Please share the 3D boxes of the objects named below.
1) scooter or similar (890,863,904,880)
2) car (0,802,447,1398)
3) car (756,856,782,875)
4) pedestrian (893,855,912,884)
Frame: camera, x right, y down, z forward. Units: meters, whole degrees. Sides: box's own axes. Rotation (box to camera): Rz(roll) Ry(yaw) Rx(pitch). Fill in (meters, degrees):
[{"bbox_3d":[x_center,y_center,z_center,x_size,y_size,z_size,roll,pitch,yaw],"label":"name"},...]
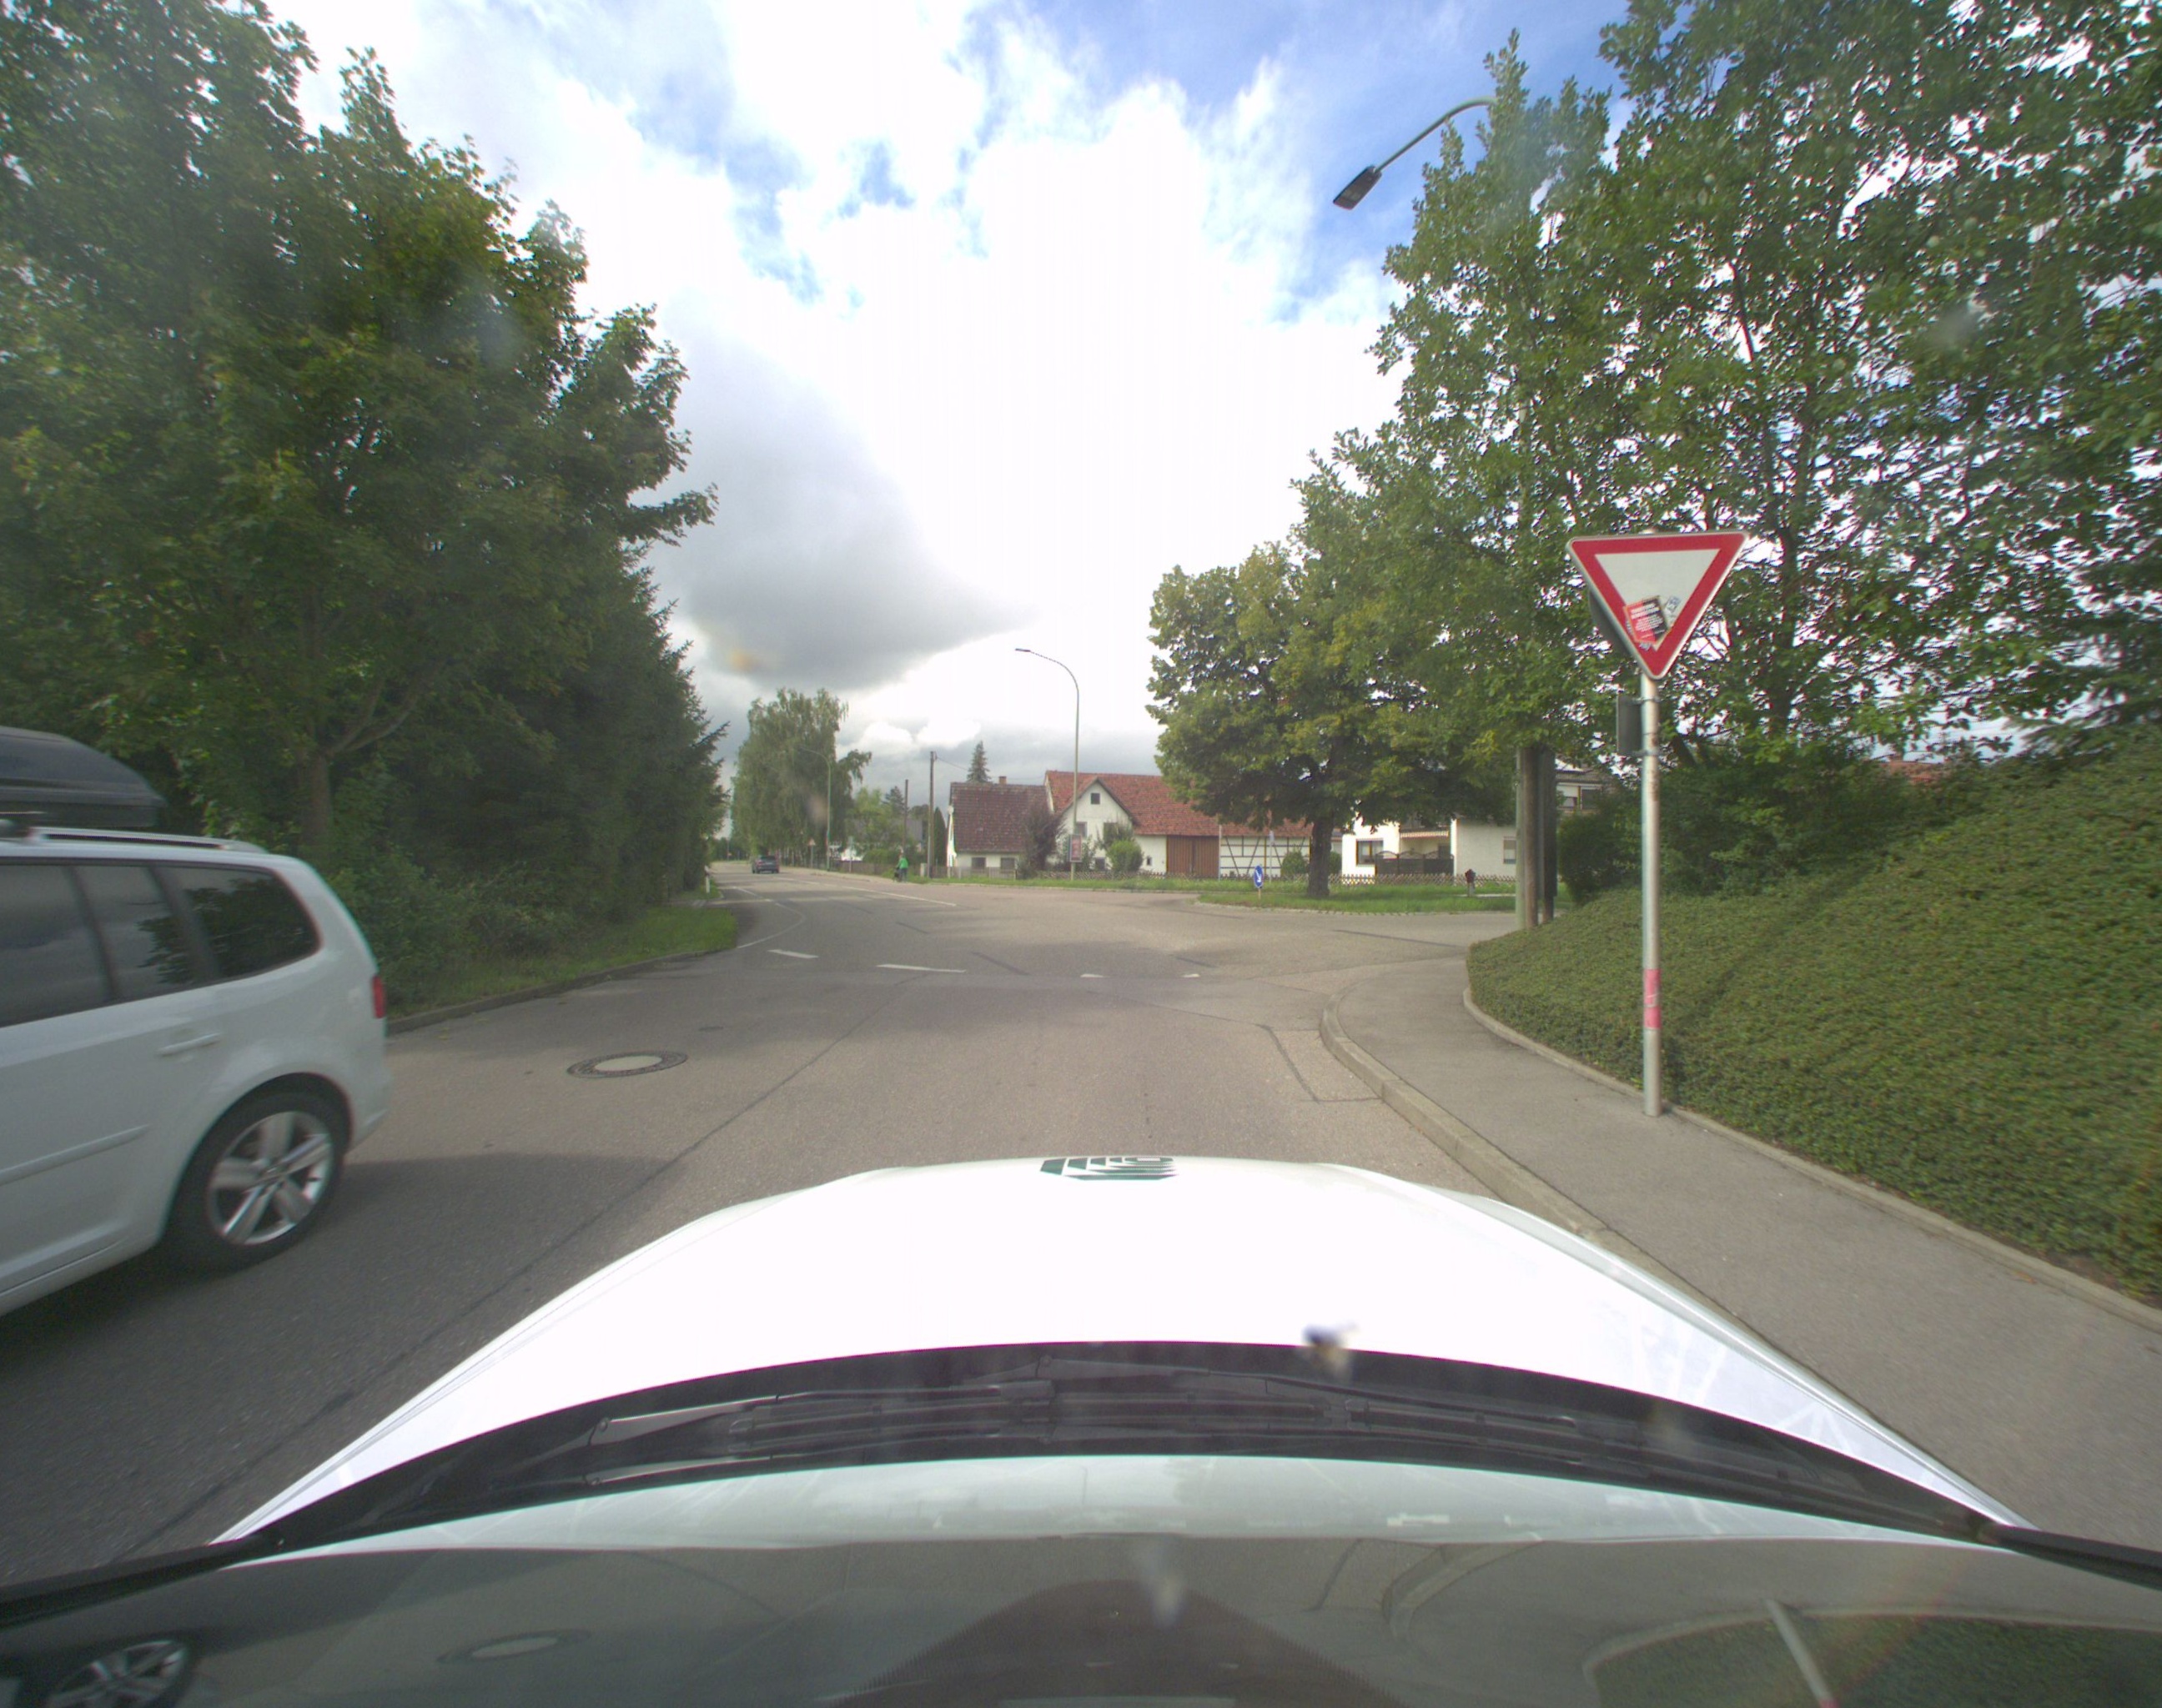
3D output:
[{"bbox_3d":[-11.201,1.065,49.528,0.634,0.948,0.616,6,-3,-31],"label":"scooter or similar"},{"bbox_3d":[-3.862,0.694,1.886,1.694,1.665,4.029,-1,0,-2],"label":"car"},{"bbox_3d":[-26.592,0.959,69.388,2.001,1.552,3.971,1,0,-22],"label":"car"},{"bbox_3d":[-10.704,0.937,48.936,0.793,1.665,0.705,6,-3,-32],"label":"pedestrian"}]
